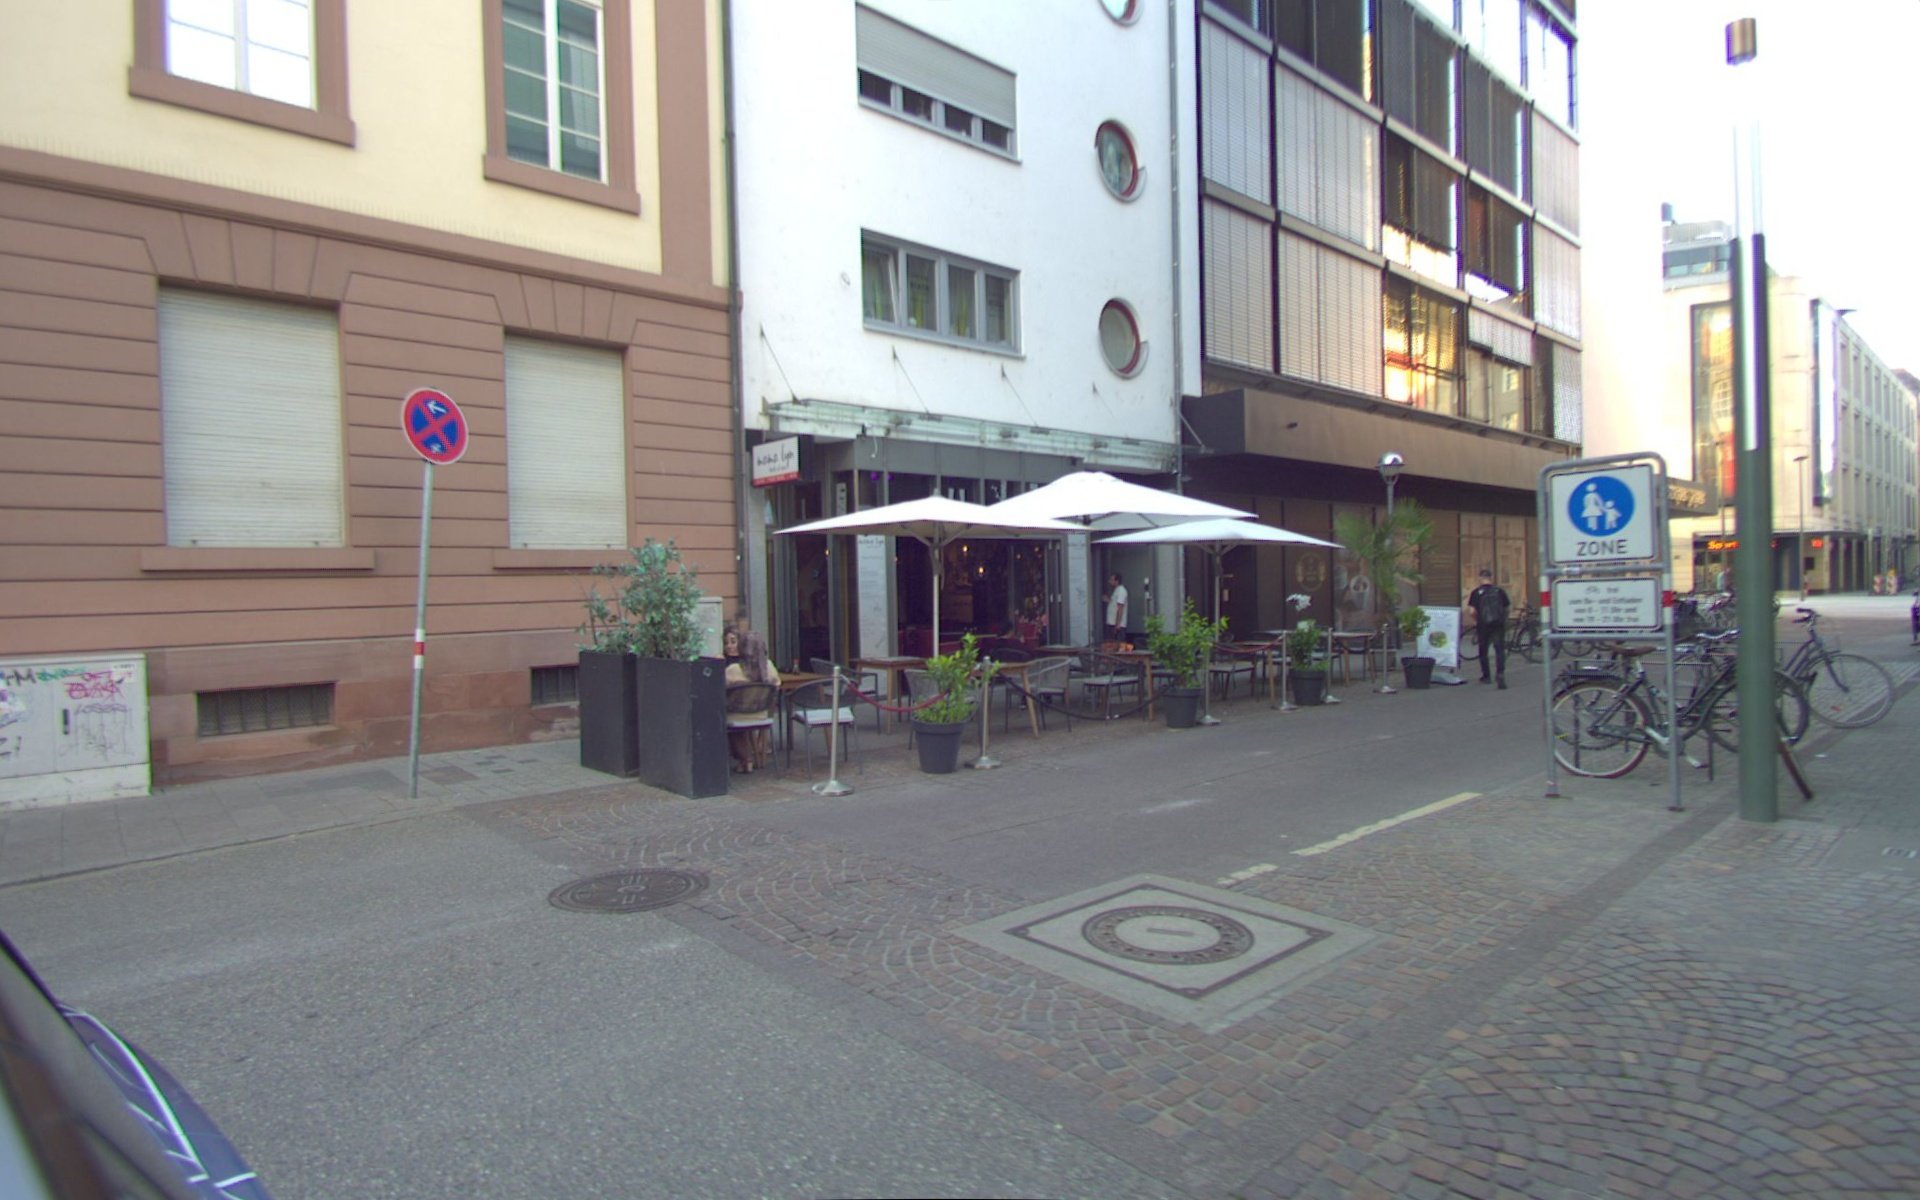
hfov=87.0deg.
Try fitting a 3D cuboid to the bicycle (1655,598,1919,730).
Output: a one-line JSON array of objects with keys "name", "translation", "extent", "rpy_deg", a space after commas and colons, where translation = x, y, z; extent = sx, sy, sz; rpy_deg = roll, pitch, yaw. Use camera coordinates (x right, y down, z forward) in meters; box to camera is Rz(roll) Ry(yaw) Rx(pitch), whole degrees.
[{"name": "bicycle", "translation": [7.946, 0.588, 9.778], "extent": [0.548, 1.153, 1.913], "rpy_deg": [-1, -1, -42]}]

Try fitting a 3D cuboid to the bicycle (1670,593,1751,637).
[{"name": "bicycle", "translation": [20.686, 0.410, 27.922], "extent": [0.459, 1.154, 1.735], "rpy_deg": [-1, 0, -42]}]

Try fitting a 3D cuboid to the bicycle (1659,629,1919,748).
[{"name": "bicycle", "translation": [7.073, 0.720, 8.582], "extent": [0.447, 0.902, 1.795], "rpy_deg": [-1, -1, -42]}]

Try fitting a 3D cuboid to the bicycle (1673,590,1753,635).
[{"name": "bicycle", "translation": [21.238, 0.362, 28.561], "extent": [0.459, 1.238, 1.735], "rpy_deg": [-1, 0, -42]}]

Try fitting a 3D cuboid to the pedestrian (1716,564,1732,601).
[{"name": "pedestrian", "translation": [32.626, -0.760, 43.202], "extent": [0.477, 1.564, 0.430], "rpy_deg": [-1, 0, 32]}]

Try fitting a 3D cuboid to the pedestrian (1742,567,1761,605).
[{"name": "pedestrian", "translation": [33.539, -0.601, 42.872], "extent": [0.471, 1.584, 0.380], "rpy_deg": [-1, 0, -3]}]

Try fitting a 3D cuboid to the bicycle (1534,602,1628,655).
[{"name": "bicycle", "translation": [12.757, 0.579, 20.822], "extent": [0.459, 1.045, 1.558], "rpy_deg": [-1, 0, -42]}]

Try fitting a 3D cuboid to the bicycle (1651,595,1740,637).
[{"name": "bicycle", "translation": [18.944, 0.410, 26.092], "extent": [0.459, 1.059, 1.779], "rpy_deg": [-1, 0, -42]}]

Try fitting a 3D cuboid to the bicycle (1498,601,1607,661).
[{"name": "bicycle", "translation": [11.474, 0.592, 19.636], "extent": [0.540, 1.100, 1.730], "rpy_deg": [-1, 0, -42]}]

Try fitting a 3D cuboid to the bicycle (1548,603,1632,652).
[{"name": "bicycle", "translation": [13.570, 0.592, 21.820], "extent": [0.459, 1.013, 1.457], "rpy_deg": [-1, 0, -42]}]

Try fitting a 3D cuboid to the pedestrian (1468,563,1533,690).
[{"name": "pedestrian", "translation": [7.944, 0.374, 14.916], "extent": [0.736, 1.798, 0.961], "rpy_deg": [-1, 0, 24]}]

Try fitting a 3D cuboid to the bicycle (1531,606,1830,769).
[{"name": "bicycle", "translation": [5.766, 0.668, 8.200], "extent": [0.600, 1.159, 1.843], "rpy_deg": [-1, -1, -42]}]

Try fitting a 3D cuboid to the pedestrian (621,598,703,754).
[{"name": "pedestrian", "translation": [-2.719, 0.665, 9.234], "extent": [0.540, 1.359, 0.489], "rpy_deg": [-1, 0, -40]}]

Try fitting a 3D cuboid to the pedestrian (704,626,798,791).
[{"name": "pedestrian", "translation": [-1.647, 0.827, 7.977], "extent": [0.553, 1.221, 0.462], "rpy_deg": [-1, 0, -40]}]

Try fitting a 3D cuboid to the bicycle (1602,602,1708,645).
[{"name": "bicycle", "translation": [16.070, 0.536, 23.436], "extent": [0.459, 0.964, 1.947], "rpy_deg": [-1, 0, -42]}]

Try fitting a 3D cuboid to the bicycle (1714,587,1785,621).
[{"name": "bicycle", "translation": [25.468, 0.140, 32.677], "extent": [0.430, 1.069, 1.735], "rpy_deg": [-1, 0, -42]}]

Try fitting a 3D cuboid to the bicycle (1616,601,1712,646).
[{"name": "bicycle", "translation": [16.891, 0.557, 24.316], "extent": [0.523, 1.016, 1.797], "rpy_deg": [-1, 0, -42]}]

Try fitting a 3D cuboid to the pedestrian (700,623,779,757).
[{"name": "pedestrian", "translation": [-2.118, 0.837, 9.730], "extent": [0.540, 1.220, 0.525], "rpy_deg": [-1, 0, -39]}]

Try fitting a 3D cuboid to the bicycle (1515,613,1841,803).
[{"name": "bicycle", "translation": [4.864, 0.684, 6.942], "extent": [0.699, 1.121, 1.675], "rpy_deg": [-1, -1, -43]}]

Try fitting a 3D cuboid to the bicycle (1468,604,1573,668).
[{"name": "bicycle", "translation": [10.074, 0.634, 18.222], "extent": [0.540, 1.093, 1.544], "rpy_deg": [-1, 0, -42]}]

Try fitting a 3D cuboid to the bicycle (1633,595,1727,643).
[{"name": "bicycle", "translation": [17.965, 0.475, 25.279], "extent": [0.459, 1.144, 1.851], "rpy_deg": [-1, 0, -42]}]

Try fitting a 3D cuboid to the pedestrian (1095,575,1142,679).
[{"name": "pedestrian", "translation": [2.623, 0.435, 16.693], "extent": [0.620, 1.678, 0.666], "rpy_deg": [-1, 0, 21]}]
